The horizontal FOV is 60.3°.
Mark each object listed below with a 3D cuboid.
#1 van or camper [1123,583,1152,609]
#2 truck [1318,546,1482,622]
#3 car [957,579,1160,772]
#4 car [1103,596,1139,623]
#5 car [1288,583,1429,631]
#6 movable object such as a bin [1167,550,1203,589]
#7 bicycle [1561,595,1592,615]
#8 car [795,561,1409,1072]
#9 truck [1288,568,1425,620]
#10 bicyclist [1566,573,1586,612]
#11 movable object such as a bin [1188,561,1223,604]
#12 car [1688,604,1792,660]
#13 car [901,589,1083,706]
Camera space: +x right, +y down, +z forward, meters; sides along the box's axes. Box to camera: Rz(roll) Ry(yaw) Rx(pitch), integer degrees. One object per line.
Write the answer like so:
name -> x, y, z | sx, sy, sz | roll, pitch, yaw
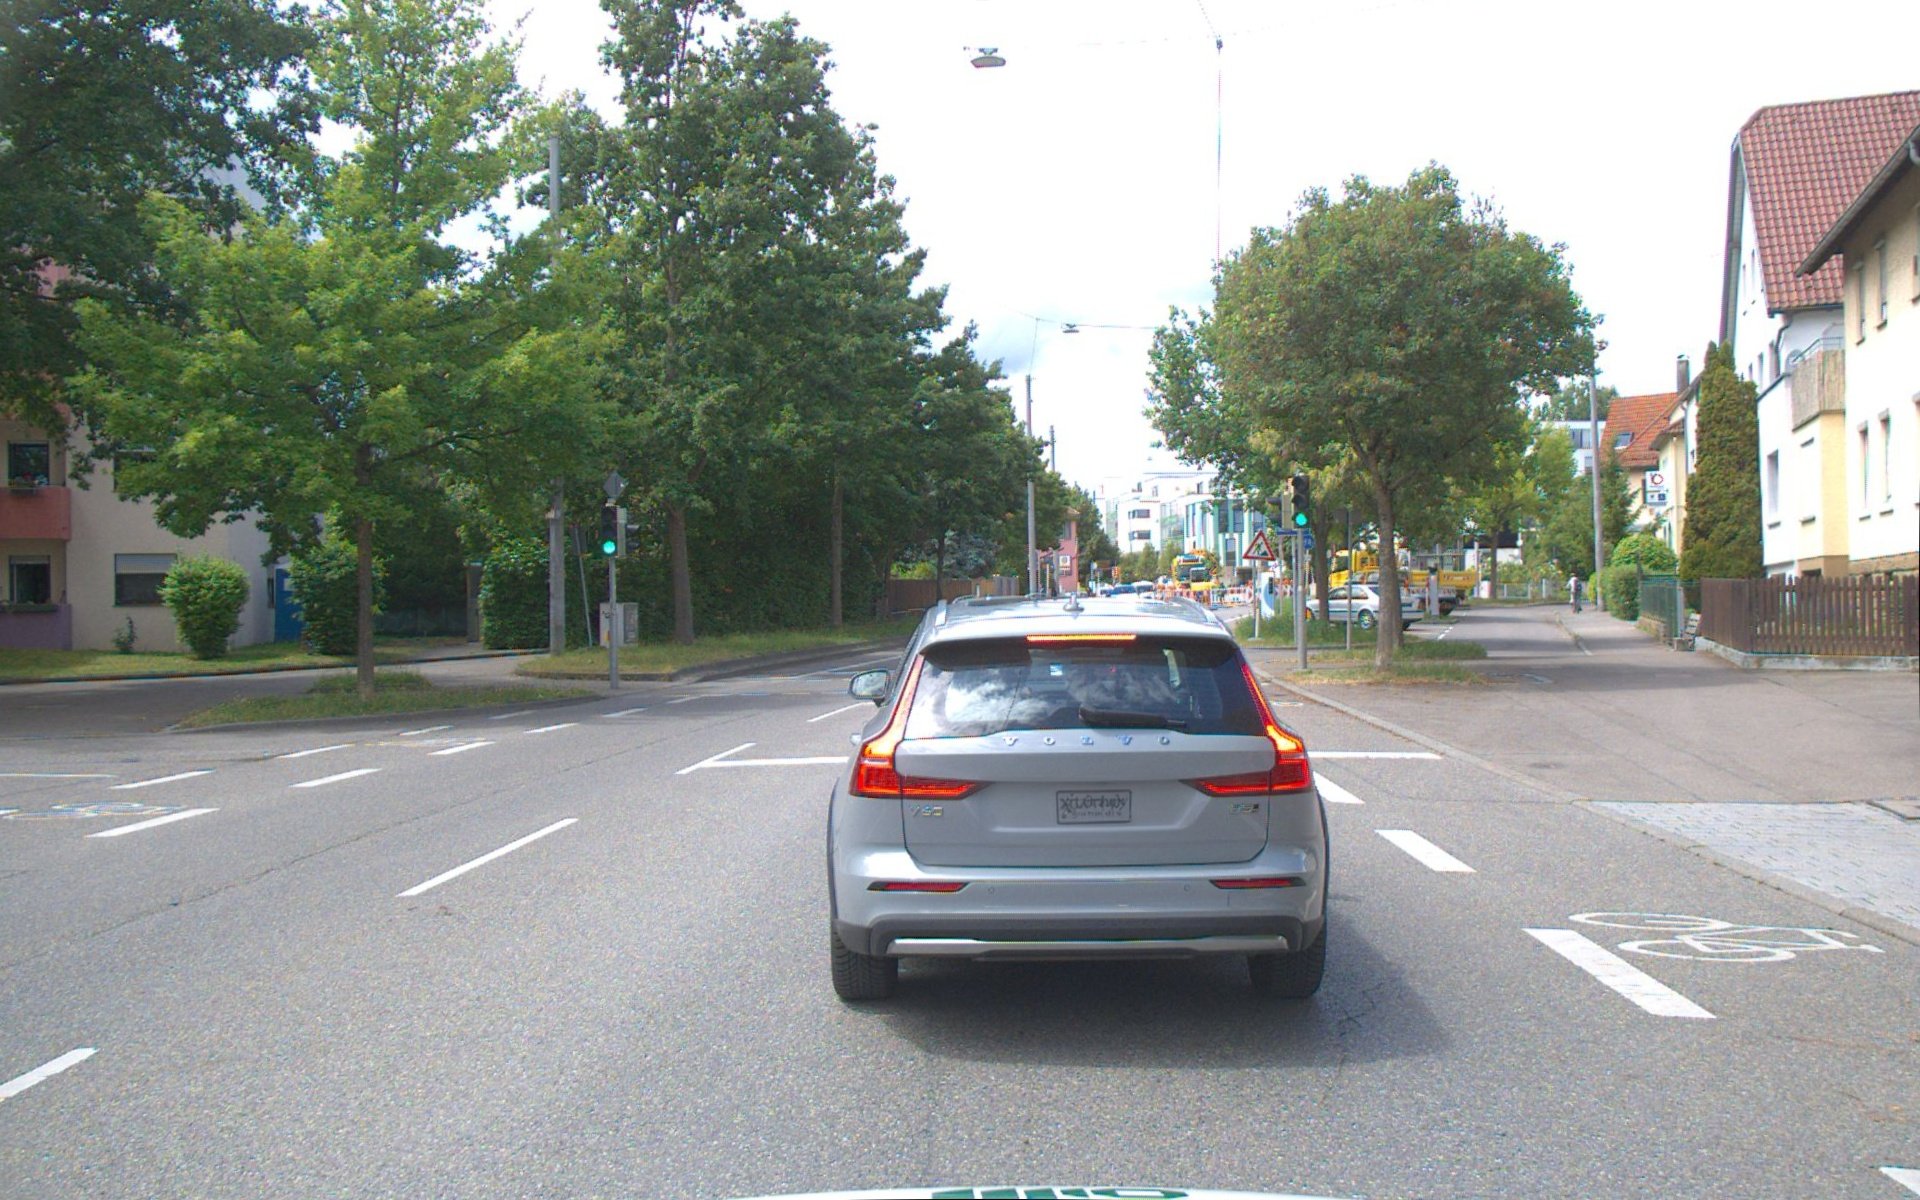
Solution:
van or camper -> 12.883, -0.314, 119.989 | 1.821, 1.807, 4.384 | -1, 0, 9
truck -> 18.760, -0.656, 70.844 | 2.737, 3.061, 6.626 | 2, -1, -34
car -> 0.872, 0.634, 15.387 | 1.627, 1.534, 3.703 | 2, 0, 2
car -> 9.062, 0.544, 92.963 | 1.789, 1.353, 4.003 | 1, -2, 9
car -> 13.043, 0.201, 54.400 | 1.745, 1.477, 4.638 | -1, 1, -32
movable object such as a bin -> 18.023, -2.406, 132.736 | 2.262, 3.042, 6.429 | -2, 0, 3
bicycle -> 25.702, 0.218, 68.929 | 0.582, 0.826, 1.753 | 1, 0, -1
car -> 0.507, 0.674, 7.172 | 1.888, 1.567, 4.001 | -1, 0, 2
truck -> 16.526, -0.252, 69.213 | 1.979, 2.049, 5.603 | 2, -1, -37
bicyclist -> 25.708, -0.301, 69.005 | 0.577, 1.586, 0.566 | 1, -1, -2
movable object such as a bin -> 16.286, -1.140, 109.393 | 1.991, 2.689, 5.945 | -2, 0, 11
car -> 17.310, 0.702, 36.852 | 1.431, 1.144, 3.874 | 1, -1, 15
car -> 0.572, 0.661, 24.421 | 2.057, 1.536, 4.003 | 1, -1, 10
